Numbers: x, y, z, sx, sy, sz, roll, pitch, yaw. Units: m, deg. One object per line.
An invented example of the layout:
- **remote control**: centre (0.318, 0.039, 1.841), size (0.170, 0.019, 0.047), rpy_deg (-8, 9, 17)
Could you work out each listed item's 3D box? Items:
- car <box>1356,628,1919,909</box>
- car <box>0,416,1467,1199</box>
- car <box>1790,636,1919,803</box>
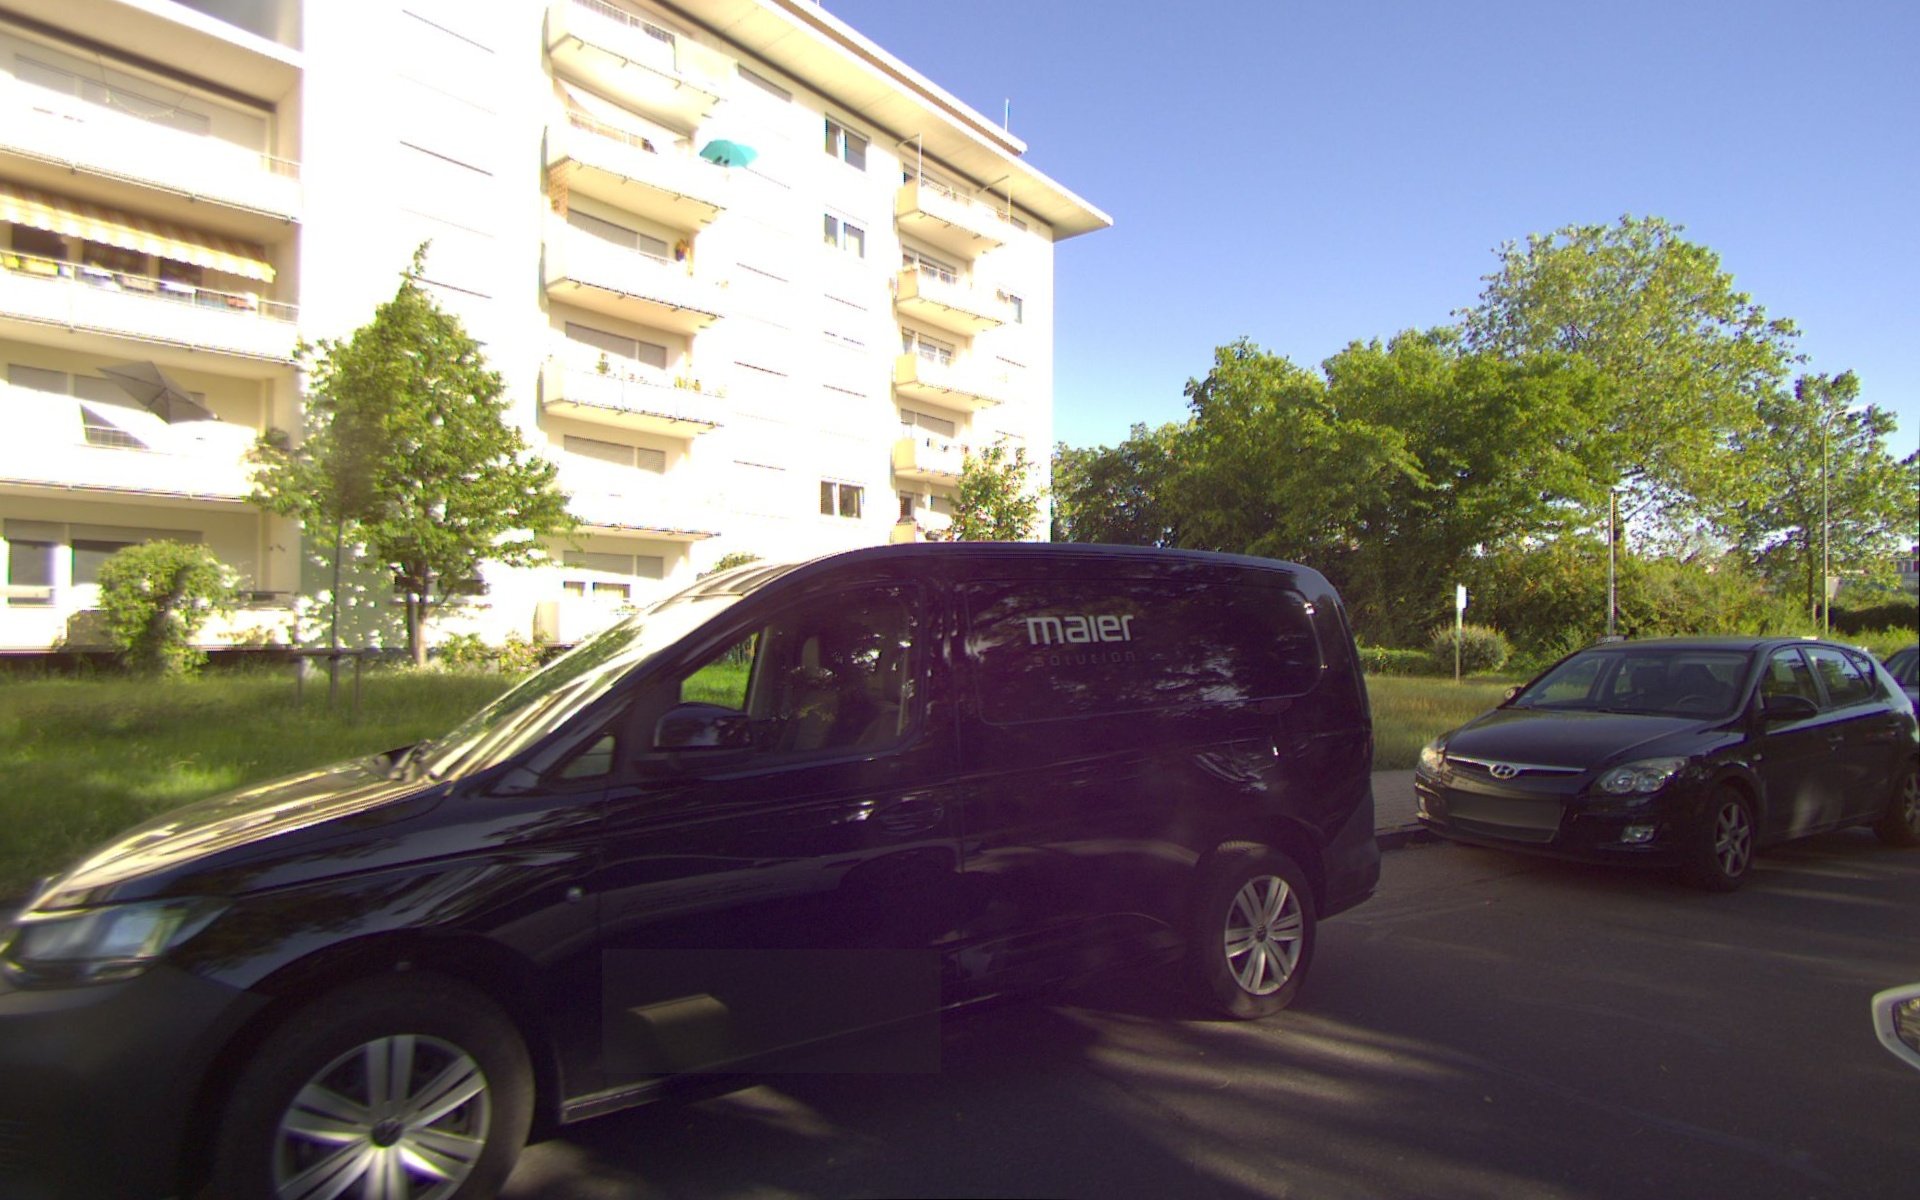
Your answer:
- **car**: centre (4.907, 0.961, 7.073), size (3.969, 1.473, 1.832), rpy_deg (1, -3, -29)
- **car**: centre (-0.323, 0.645, 3.930), size (4.832, 1.803, 1.831), rpy_deg (2, -3, -31)
- **car**: centre (10.580, 1.112, 10.311), size (4.628, 1.483, 1.719), rpy_deg (1, -2, -31)
